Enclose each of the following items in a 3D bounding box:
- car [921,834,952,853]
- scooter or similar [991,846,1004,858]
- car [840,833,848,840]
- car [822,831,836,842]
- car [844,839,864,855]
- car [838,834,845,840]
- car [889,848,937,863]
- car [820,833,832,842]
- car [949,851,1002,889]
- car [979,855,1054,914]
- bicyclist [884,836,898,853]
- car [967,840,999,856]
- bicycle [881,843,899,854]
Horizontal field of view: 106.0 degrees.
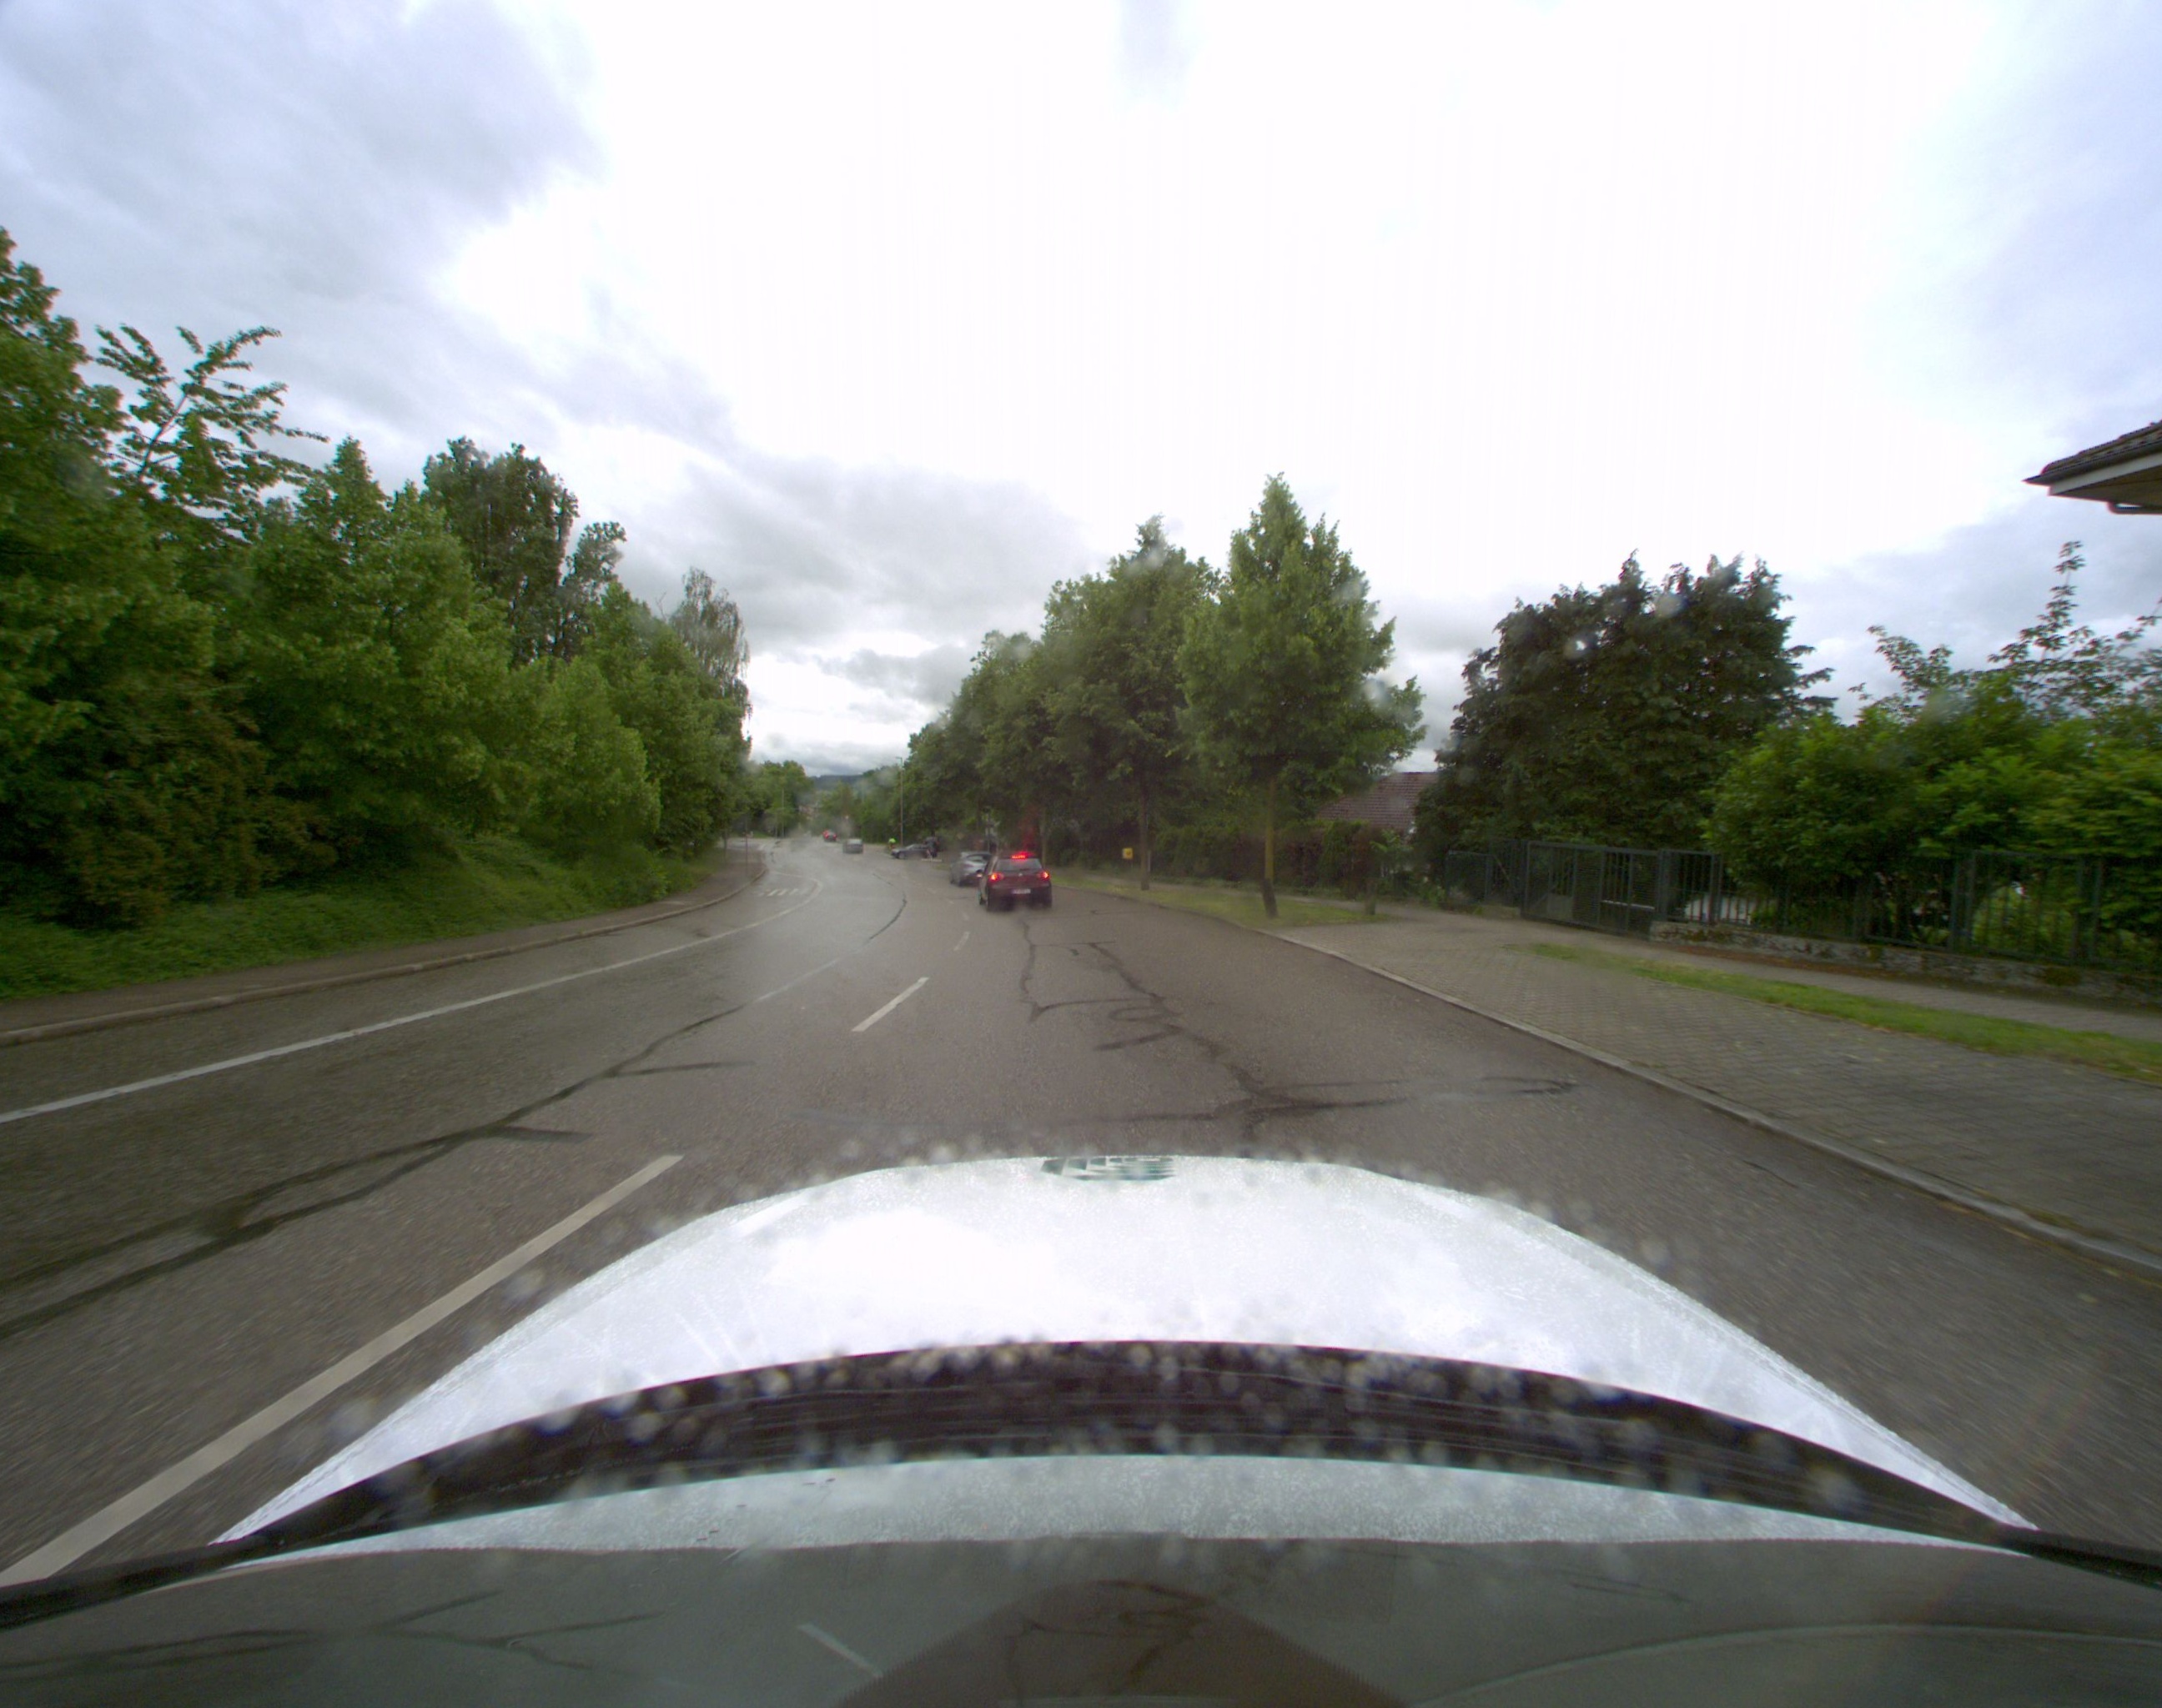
[{"bbox_3d":[-15.767,-1.162,89.212,1.937,1.688,4.915,2,4,7],"label":"car"},{"bbox_3d":[-8.880,-0.233,86.694,1.343,1.285,0.557,-1,1,-27],"label":"scooter or similar"},{"bbox_3d":[-56.685,-4.220,194.463,1.726,1.464,3.978,-1,2,-17],"label":"car"},{"bbox_3d":[-37.952,-2.608,122.592,1.726,1.464,3.975,3,0,-19],"label":"car"},{"bbox_3d":[-23.594,-0.741,84.652,1.726,1.464,3.975,3,0,-19],"label":"car"},{"bbox_3d":[-61.447,-4.421,208.763,1.726,1.464,3.978,-1,2,-17],"label":"car"},{"bbox_3d":[-15.866,0.103,76.873,4.145,1.383,1.713,0,0,-24],"label":"car"},{"bbox_3d":[-42.849,-2.774,136.815,1.726,1.464,3.975,3,0,-19],"label":"car"},{"bbox_3d":[-4.614,0.663,35.333,1.757,1.464,3.980,0,1,-15],"label":"car"},{"bbox_3d":[-1.873,0.773,22.655,1.722,1.464,3.986,0,0,-10],"label":"car"},{"bbox_3d":[-19.654,-1.027,84.262,1.270,1.755,0.859,0,0,44],"label":"bicyclist"},{"bbox_3d":[-10.602,-0.671,88.458,1.738,1.469,4.587,3,5,16],"label":"car"},{"bbox_3d":[-19.830,-0.565,84.438,2.012,1.155,0.859,0,1,44],"label":"bicycle"}]
